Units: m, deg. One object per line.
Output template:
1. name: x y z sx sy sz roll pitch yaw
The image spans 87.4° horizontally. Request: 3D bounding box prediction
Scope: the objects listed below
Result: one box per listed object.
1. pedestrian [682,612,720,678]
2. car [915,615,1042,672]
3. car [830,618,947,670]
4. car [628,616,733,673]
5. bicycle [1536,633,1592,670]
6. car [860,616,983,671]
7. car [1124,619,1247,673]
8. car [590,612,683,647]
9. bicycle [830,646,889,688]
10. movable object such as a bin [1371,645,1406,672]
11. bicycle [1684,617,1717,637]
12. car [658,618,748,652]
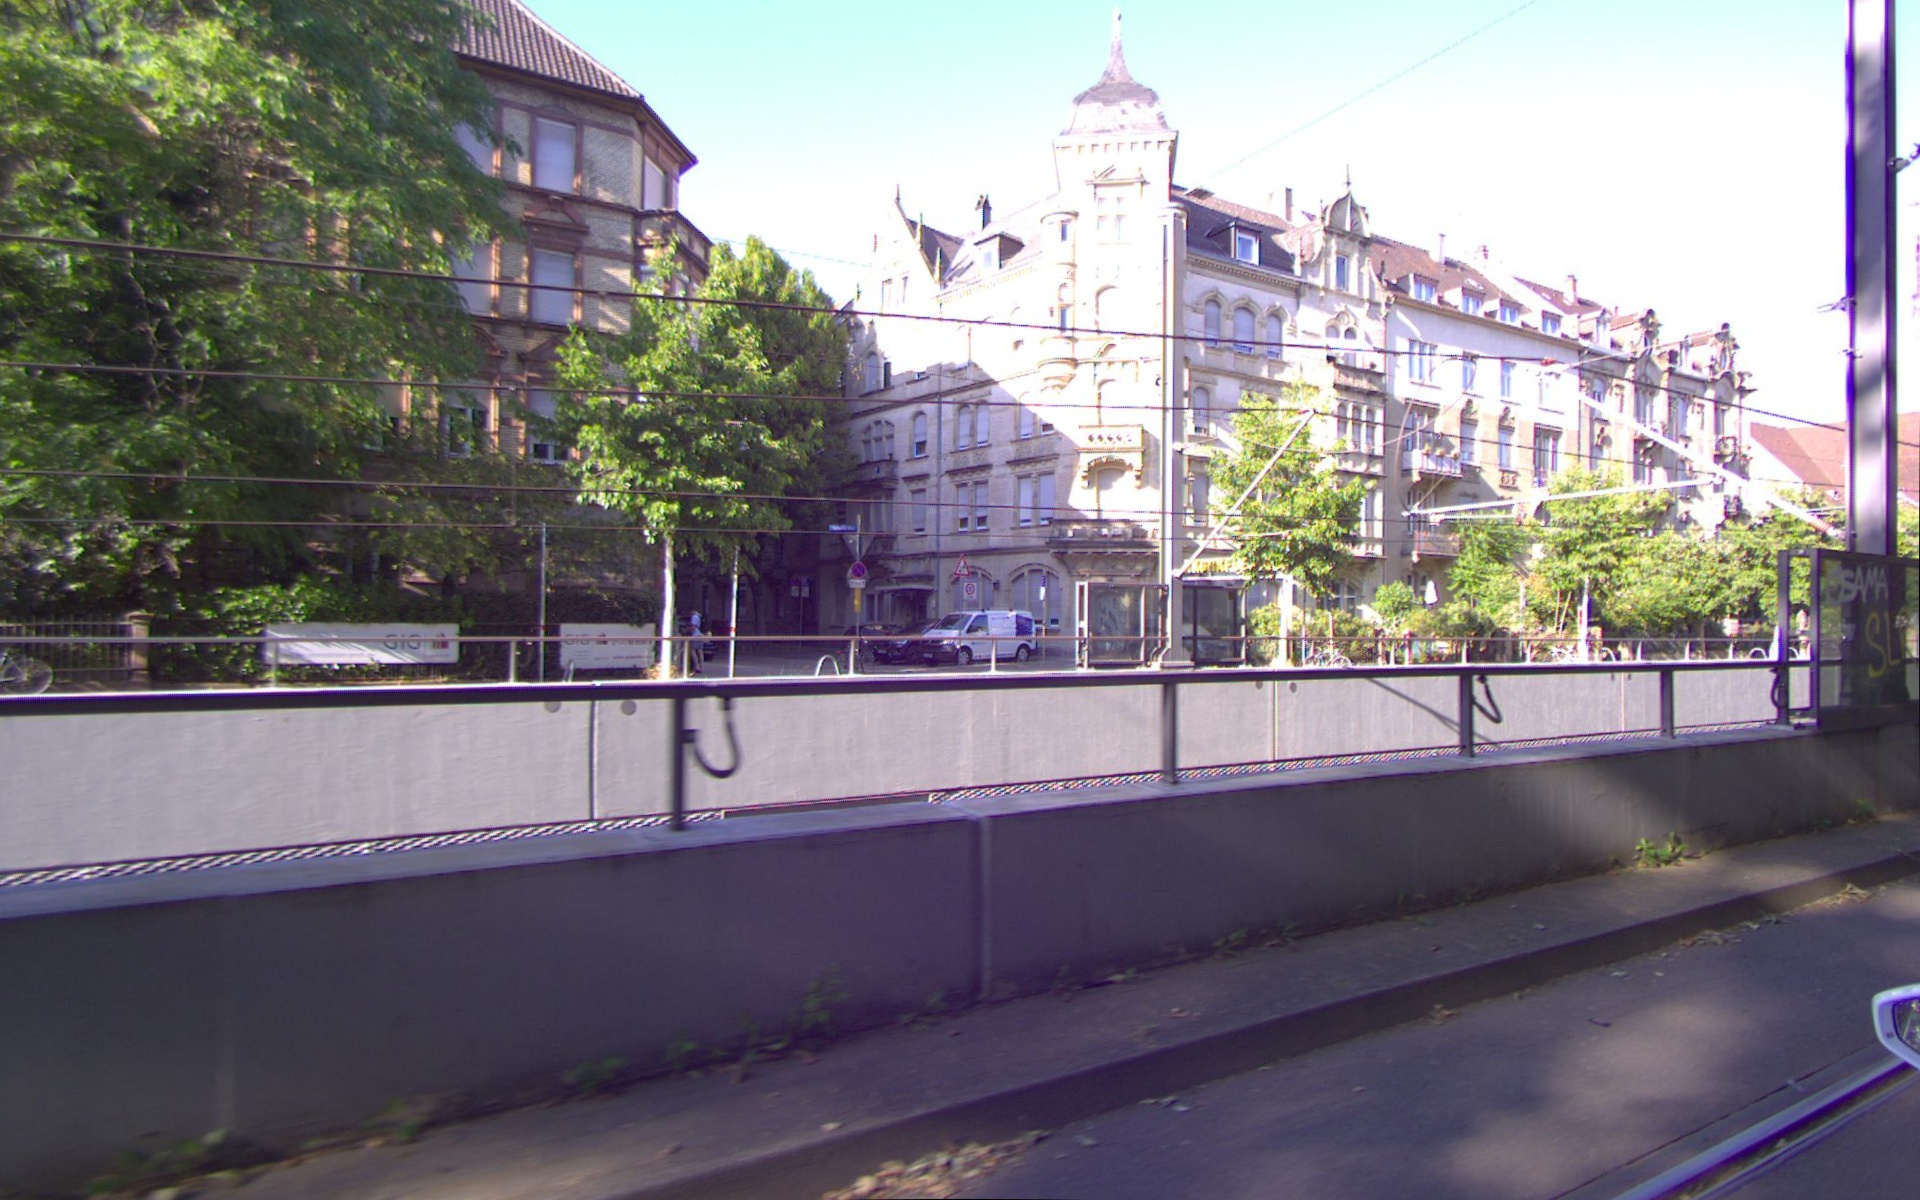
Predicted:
1. pedestrian: -6.900 1.190 26.730 0.852 1.711 0.717 1 1 -24
2. car: 0.725 1.527 36.663 4.446 1.874 1.975 1 2 -42
3. car: -2.851 1.718 40.610 4.446 1.874 1.975 1 2 -42
4. car: -10.833 1.666 38.770 4.386 1.874 1.987 3 2 45
5. bicycle: 21.844 1.840 36.341 0.591 1.296 1.727 1 -1 -23
6. car: -1.447 1.612 38.408 4.446 1.874 1.975 1 2 -42
7. car: 7.845 1.557 35.198 1.809 1.646 3.956 1 0 -38
8. car: -18.954 1.682 58.903 4.861 1.871 1.851 1 2 -42
9. bicycle: -2.586 1.735 25.992 0.447 1.018 1.941 2 -2 29
10. movable object such as a bin: 15.800 2.146 37.038 0.776 0.932 0.891 1 2 -35
11. bicycle: 40.620 1.489 55.070 2.083 1.032 0.503 1 1 -26
12. car: -13.464 1.797 52.751 4.181 1.627 1.851 1 2 -42
